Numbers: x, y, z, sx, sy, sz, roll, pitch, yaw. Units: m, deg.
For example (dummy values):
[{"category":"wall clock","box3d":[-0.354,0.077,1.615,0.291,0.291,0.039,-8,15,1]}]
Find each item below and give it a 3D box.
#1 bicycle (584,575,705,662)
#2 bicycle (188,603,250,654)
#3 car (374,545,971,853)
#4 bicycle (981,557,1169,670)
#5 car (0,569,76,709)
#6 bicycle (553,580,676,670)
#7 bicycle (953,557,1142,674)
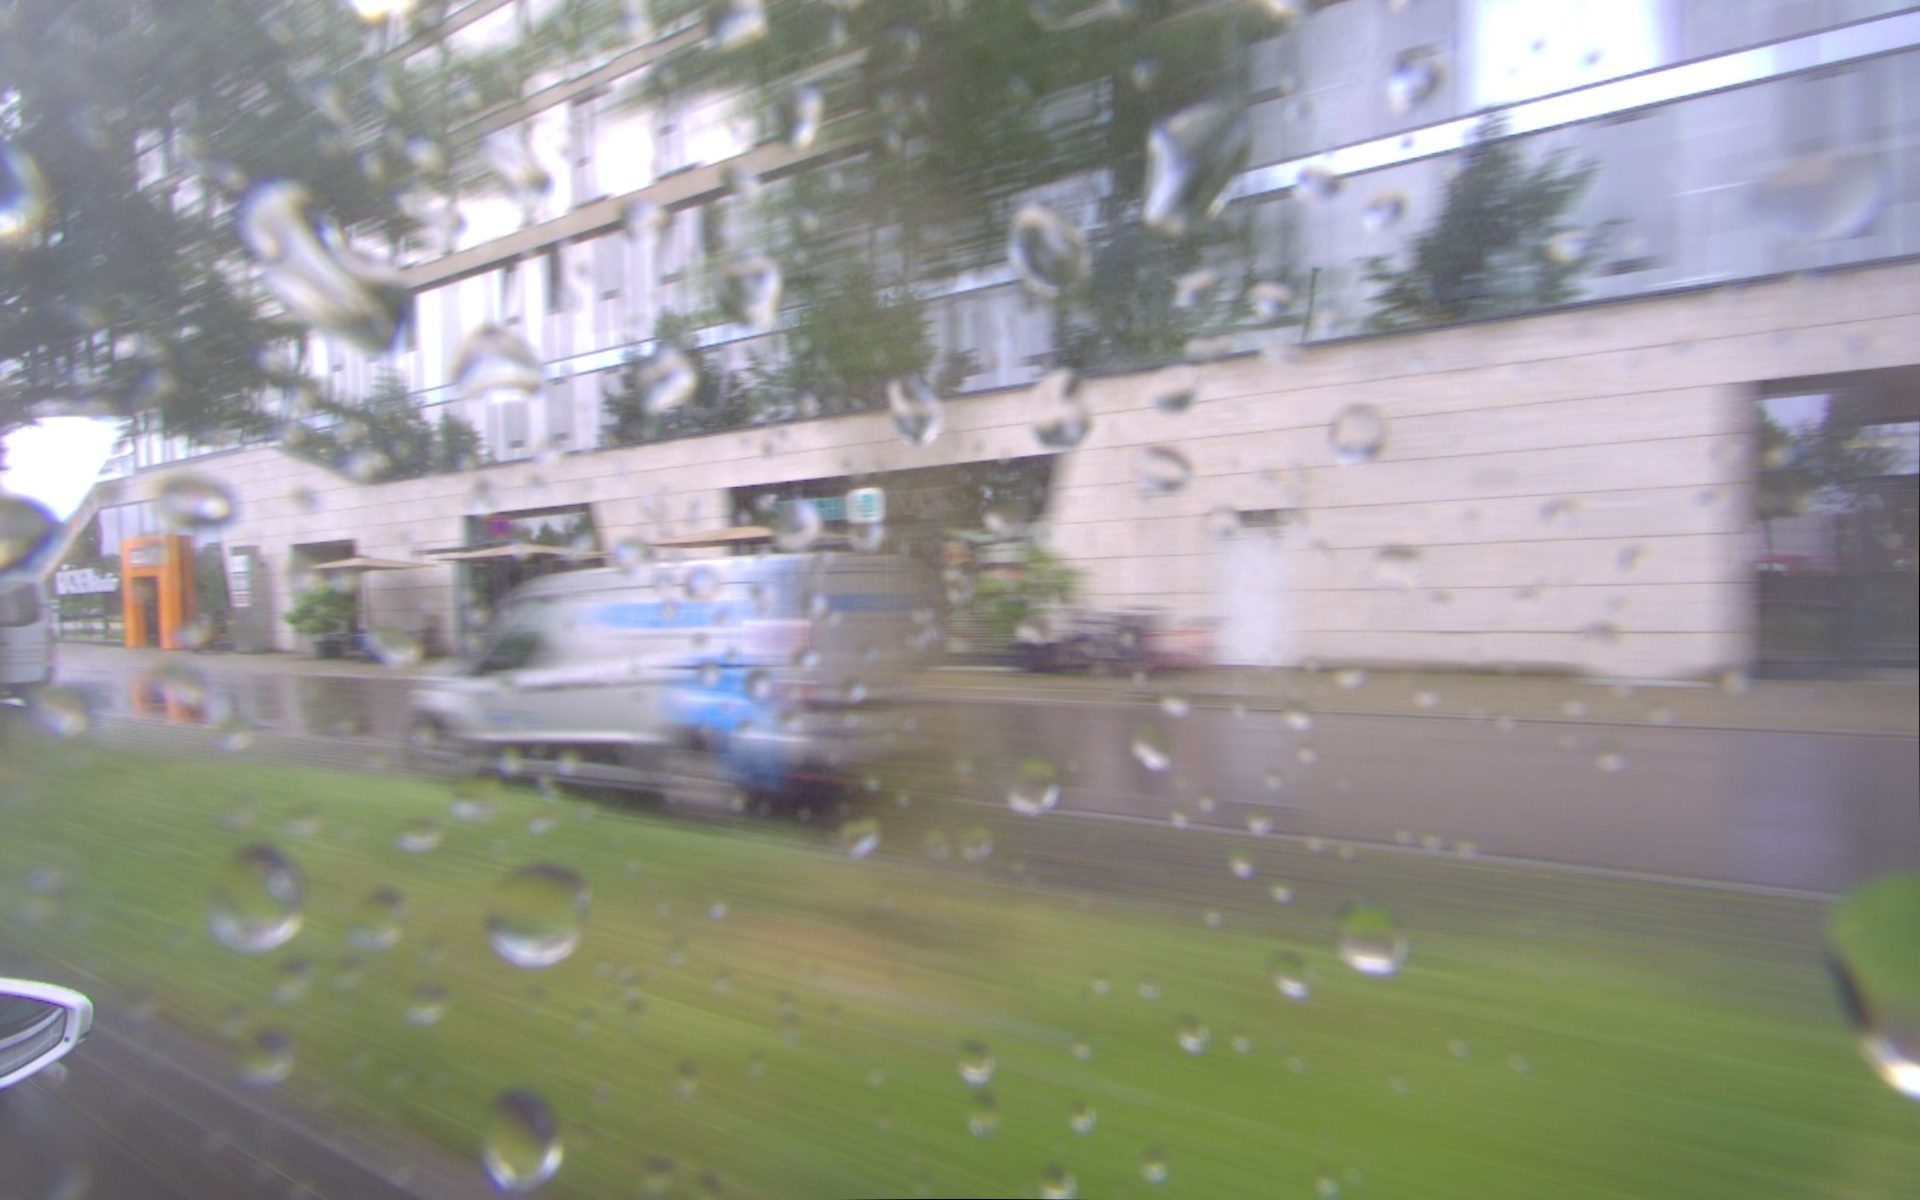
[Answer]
[{"category":"bicycle","box3d":[-6.860,0.365,21.695,3.074,1.746,0.643,2,3,32]},{"category":"bicycle","box3d":[-24.614,0.925,33.239,2.724,1.556,0.664,2,3,32]},{"category":"car","box3d":[-2.387,0.580,7.909,4.621,1.815,1.901,-1,2,32]},{"category":"bicycle","box3d":[1.869,0.169,16.741,3.074,1.746,0.770,2,3,32]},{"category":"car","box3d":[-17.859,0.675,17.679,4.499,2.305,2.116,-1,2,32]},{"category":"bicycle","box3d":[-7.304,0.478,21.094,3.074,1.746,0.643,2,3,32]},{"category":"bicycle","box3d":[1.352,0.189,16.143,3.074,1.746,0.643,2,3,32]}]
